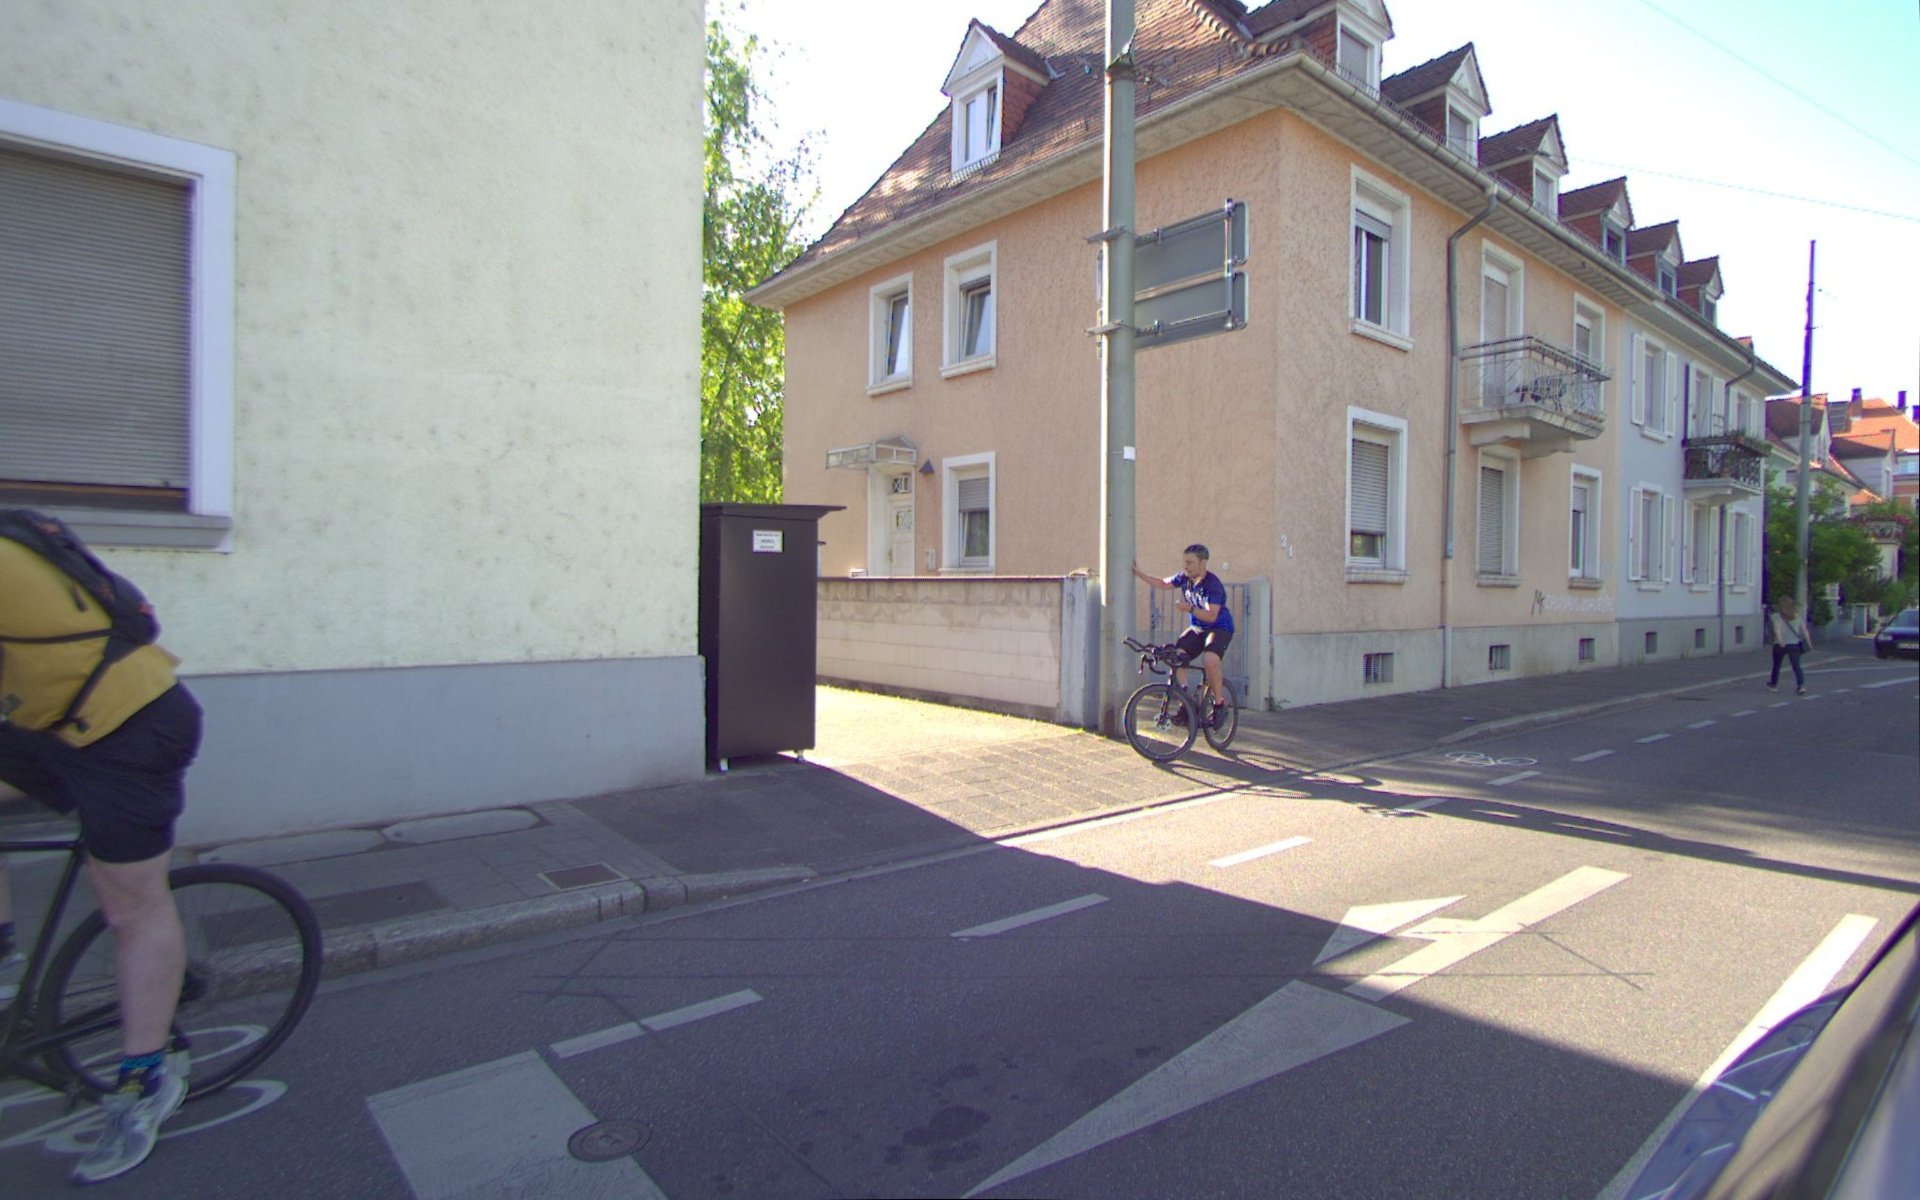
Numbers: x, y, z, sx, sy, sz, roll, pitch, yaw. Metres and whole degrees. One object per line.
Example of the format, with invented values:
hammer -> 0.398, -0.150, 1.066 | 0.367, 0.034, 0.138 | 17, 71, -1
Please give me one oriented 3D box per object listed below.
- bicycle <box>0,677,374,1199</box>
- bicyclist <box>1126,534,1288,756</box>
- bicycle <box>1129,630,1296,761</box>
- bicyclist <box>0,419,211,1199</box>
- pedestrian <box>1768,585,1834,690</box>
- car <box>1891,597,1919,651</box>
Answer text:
bicycle -> -2.474, 0.847, 2.530 | 1.669, 1.180, 0.572 | 0, 1, -41
bicyclist -> 2.287, 0.365, 9.429 | 0.831, 1.887, 1.076 | 0, 4, -40
bicycle -> 2.320, 0.822, 9.204 | 1.669, 1.003, 0.572 | 0, 4, -41
bicyclist -> -2.517, 0.498, 2.505 | 1.018, 1.840, 0.653 | 0, 1, -41
pedestrian -> 13.978, 0.589, 16.813 | 1.080, 1.682, 0.694 | 0, 0, -42
car -> 26.702, 0.635, 27.337 | 3.796, 1.382, 1.648 | 0, 1, -38
